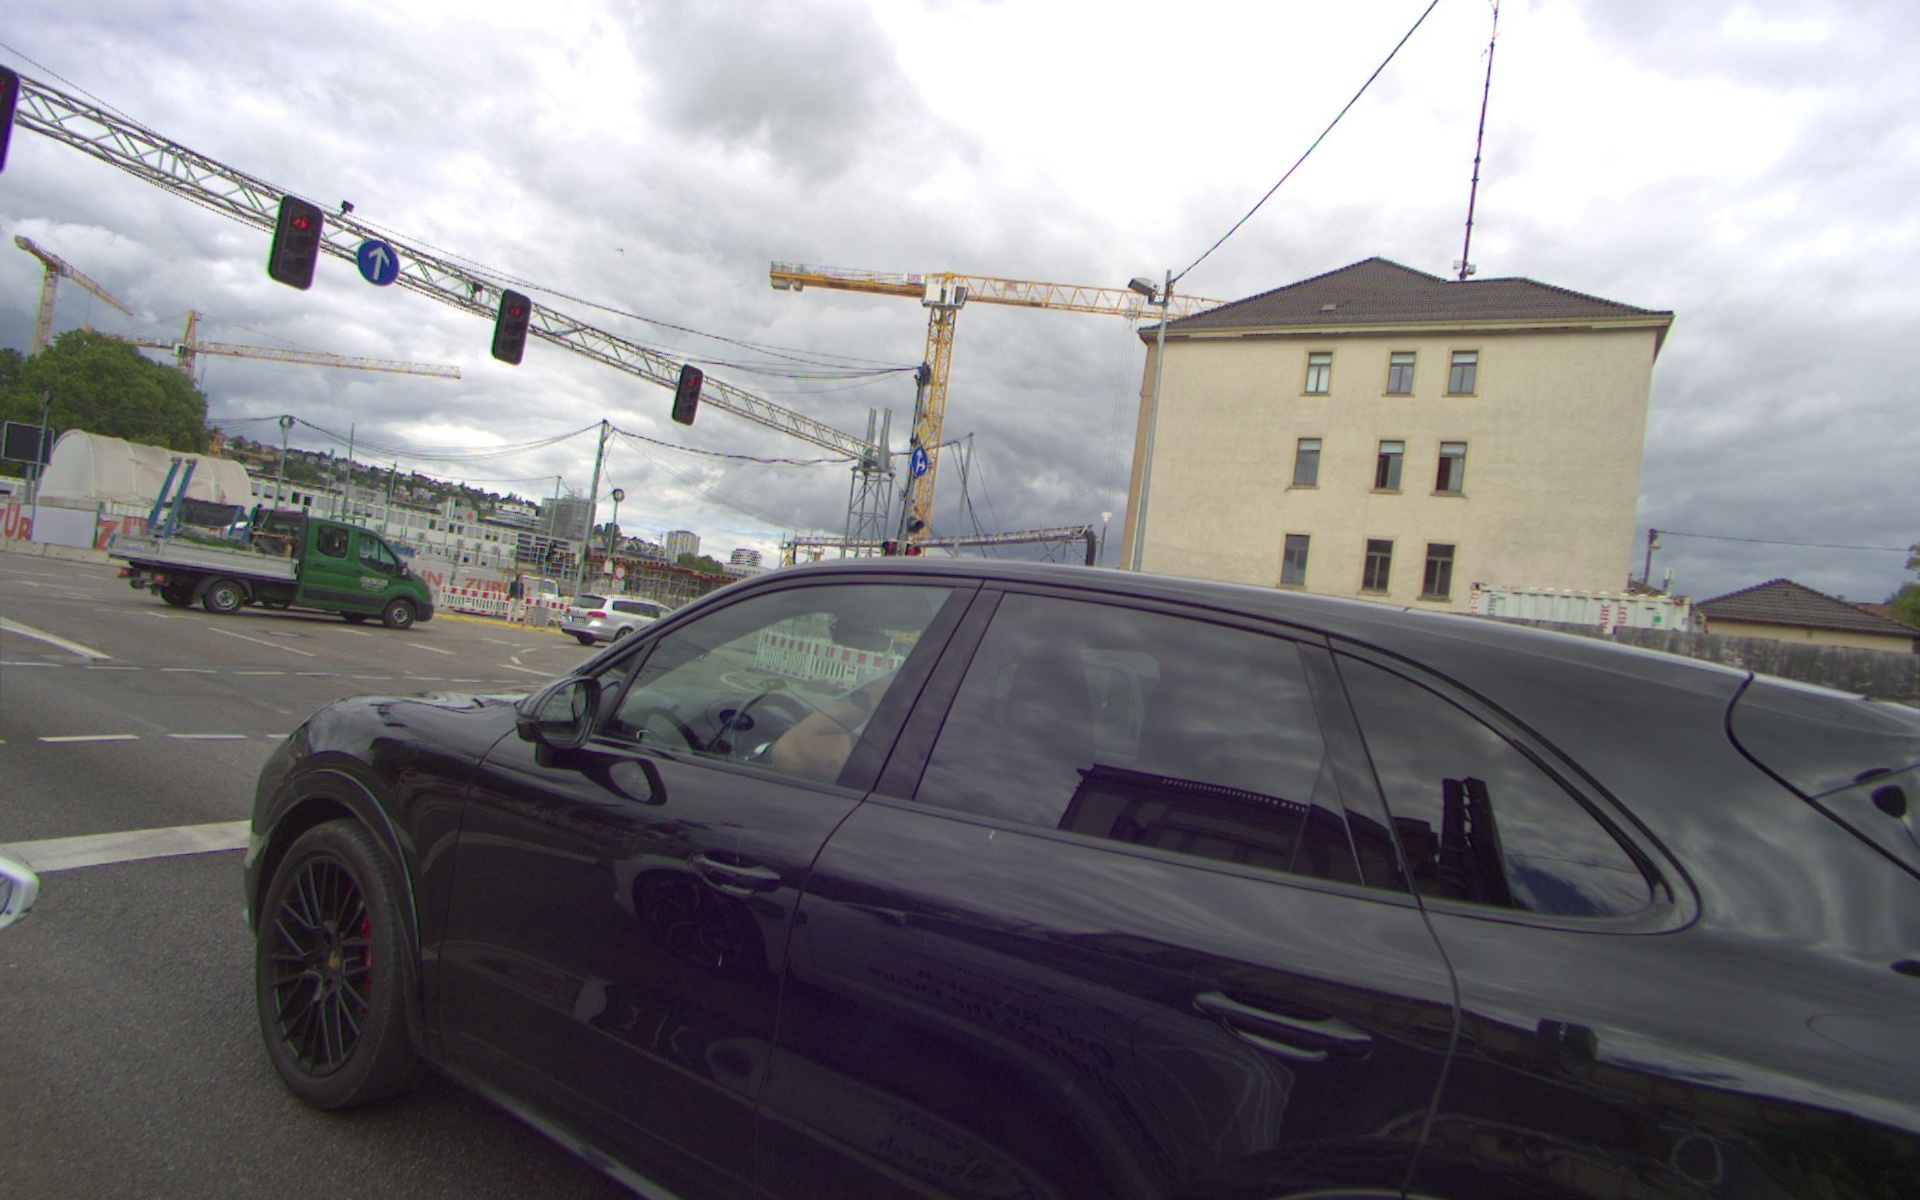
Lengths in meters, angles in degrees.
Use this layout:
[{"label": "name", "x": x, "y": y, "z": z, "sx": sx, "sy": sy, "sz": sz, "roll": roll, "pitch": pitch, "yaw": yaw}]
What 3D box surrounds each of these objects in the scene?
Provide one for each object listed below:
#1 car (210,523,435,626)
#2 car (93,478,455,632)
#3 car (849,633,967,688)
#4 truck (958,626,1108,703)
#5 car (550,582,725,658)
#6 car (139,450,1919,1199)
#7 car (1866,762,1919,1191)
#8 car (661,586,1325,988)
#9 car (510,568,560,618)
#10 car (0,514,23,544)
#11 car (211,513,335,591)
[{"label": "car", "x": -15.714, "y": -0.583, "z": 24.977, "sx": 1.805, "sy": 1.903, "sz": 4.263, "roll": 6, "pitch": -3, "yaw": 41}, {"label": "car", "x": -14.156, "y": -0.800, "z": 21.307, "sx": 2.263, "sy": 2.331, "sz": 5.776, "roll": 7, "pitch": -2, "yaw": 27}, {"label": "car", "x": -1.918, "y": 2.380, "z": 38.862, "sx": 1.988, "sy": 1.643, "sz": 4.816, "roll": 6, "pitch": -2, "yaw": 33}, {"label": "truck", "x": 3.709, "y": 3.206, "z": 48.405, "sx": 2.586, "sy": 2.835, "sz": 8.990, "roll": 7, "pitch": -3, "yaw": 36}, {"label": "car", "x": -9.141, "y": 0.641, "z": 28.953, "sx": 1.654, "sy": 1.643, "sz": 4.720, "roll": 6, "pitch": -2, "yaw": 31}, {"label": "car", "x": -0.047, "y": 0.696, "z": 2.670, "sx": 4.410, "sy": 1.735, "sz": 1.828, "roll": 6, "pitch": -2, "yaw": 32}, {"label": "car", "x": 5.769, "y": 1.682, "z": 2.574, "sx": 4.729, "sy": 1.644, "sz": 1.828, "roll": 6, "pitch": -2, "yaw": 32}, {"label": "car", "x": 0.117, "y": 0.981, "z": 6.668, "sx": 3.934, "sy": 1.644, "sz": 1.679, "roll": 6, "pitch": -2, "yaw": 32}, {"label": "car", "x": -19.161, "y": -0.321, "z": 45.302, "sx": 1.757, "sy": 1.976, "sz": 3.108, "roll": 8, "pitch": -2, "yaw": -25}, {"label": "car", "x": -58.085, "y": -4.461, "z": 59.122, "sx": 1.788, "sy": 1.643, "sz": 4.005, "roll": 7, "pitch": -2, "yaw": 13}, {"label": "car", "x": -29.571, "y": -2.040, "z": 43.374, "sx": 1.660, "sy": 2.692, "sz": 3.979, "roll": 6, "pitch": -2, "yaw": 45}]
